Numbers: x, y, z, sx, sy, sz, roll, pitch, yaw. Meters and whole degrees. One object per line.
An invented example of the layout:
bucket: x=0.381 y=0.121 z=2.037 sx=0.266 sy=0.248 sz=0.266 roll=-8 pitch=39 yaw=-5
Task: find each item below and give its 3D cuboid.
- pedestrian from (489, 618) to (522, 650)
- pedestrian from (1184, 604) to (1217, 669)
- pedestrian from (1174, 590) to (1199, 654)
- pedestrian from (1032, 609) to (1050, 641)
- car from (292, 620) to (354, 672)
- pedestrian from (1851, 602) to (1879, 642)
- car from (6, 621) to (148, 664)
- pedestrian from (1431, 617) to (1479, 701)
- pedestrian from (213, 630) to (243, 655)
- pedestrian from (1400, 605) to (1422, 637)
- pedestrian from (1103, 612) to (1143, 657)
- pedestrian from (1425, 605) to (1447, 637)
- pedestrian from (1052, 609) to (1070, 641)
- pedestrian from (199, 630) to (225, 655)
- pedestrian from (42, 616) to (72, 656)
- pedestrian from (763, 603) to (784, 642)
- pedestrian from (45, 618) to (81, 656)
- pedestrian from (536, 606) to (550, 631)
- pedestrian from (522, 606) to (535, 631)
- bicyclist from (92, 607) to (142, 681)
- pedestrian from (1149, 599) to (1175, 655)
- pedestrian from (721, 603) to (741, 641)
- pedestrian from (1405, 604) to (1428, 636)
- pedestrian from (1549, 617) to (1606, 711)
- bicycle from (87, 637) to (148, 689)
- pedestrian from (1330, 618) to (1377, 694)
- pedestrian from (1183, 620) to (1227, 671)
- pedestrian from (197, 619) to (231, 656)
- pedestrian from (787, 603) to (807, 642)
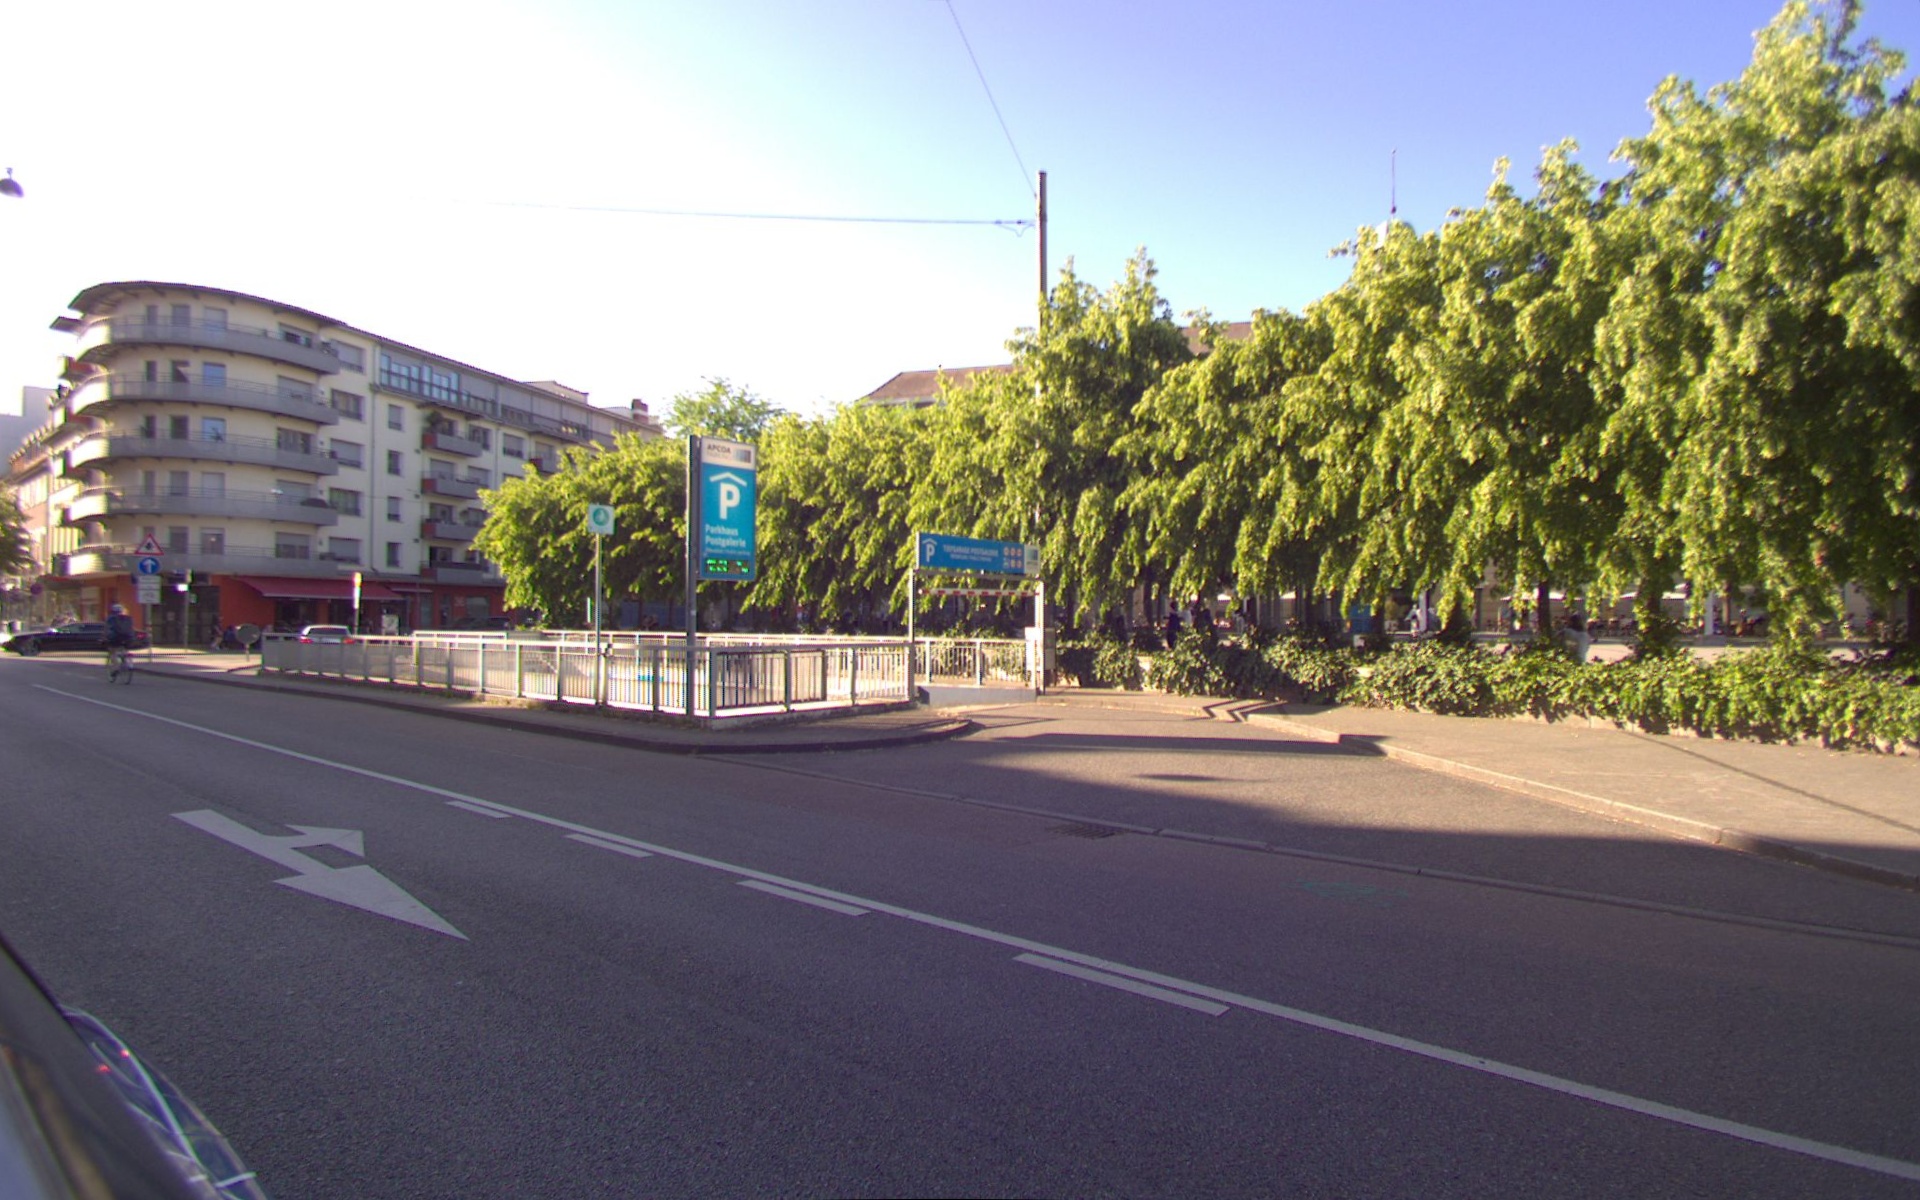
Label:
pedestrian: x=-24.720 y=1.837 z=55.004 sx=1.139 sy=1.678 sz=1.256 roll=-1 pitch=0 yaw=39
pedestrian: x=5.665 y=0.851 z=23.813 sx=0.688 sy=1.511 sz=0.680 roll=-1 pitch=0 yaw=19
pedestrian: x=5.712 y=0.555 z=25.485 sx=0.522 sy=1.594 sz=0.680 roll=-1 pitch=0 yaw=19
pedestrian: x=3.580 y=1.114 z=44.858 sx=0.752 sy=1.385 sz=0.684 roll=-1 pitch=0 yaw=1
car: x=-21.346 y=1.494 z=34.015 sx=1.611 sy=1.542 sz=3.920 roll=-1 pitch=0 yaw=-31
pedestrian: x=35.377 y=0.863 z=39.554 sx=0.683 sy=1.542 sz=0.741 roll=-1 pitch=0 yaw=-43
car: x=-35.874 y=1.689 z=41.269 sx=4.180 sy=1.542 sz=1.681 roll=-1 pitch=0 yaw=-36
pedestrian: x=8.753 y=1.024 z=17.902 sx=0.621 sy=1.447 sz=0.645 roll=-1 pitch=0 yaw=39
pedestrian: x=-36.816 y=2.122 z=50.901 sx=0.827 sy=1.207 sz=0.931 roll=-1 pitch=0 yaw=16
pedestrian: x=21.997 y=1.028 z=49.362 sx=0.673 sy=1.535 sz=0.695 roll=-1 pitch=0 yaw=-7
pedestrian: x=4.045 y=0.842 z=25.109 sx=0.682 sy=1.079 sz=0.686 roll=-1 pitch=0 yaw=-29
pedestrian: x=23.017 y=1.015 z=48.928 sx=0.672 sy=1.542 sz=0.696 roll=-1 pitch=0 yaw=-18
pedestrian: x=4.475 y=1.102 z=44.821 sx=0.684 sy=1.385 sz=0.684 roll=-1 pitch=0 yaw=1
pedestrian: x=-37.637 y=2.133 z=50.945 sx=0.882 sy=1.207 sz=0.772 roll=-1 pitch=0 yaw=30
pedestrian: x=-45.087 y=1.785 z=50.529 sx=0.790 sy=1.934 sz=0.978 roll=-1 pitch=0 yaw=37
pedestrian: x=-9.010 y=1.097 z=48.942 sx=0.681 sy=1.877 sz=0.741 roll=-1 pitch=0 yaw=27
pedestrian: x=-42.251 y=1.744 z=47.694 sx=1.051 sy=1.732 sz=1.084 roll=-1 pitch=0 yaw=-30
pedestrian: x=-31.361 y=1.394 z=76.105 sx=0.684 sy=1.857 sz=0.737 roll=-1 pitch=0 yaw=41
pedestrian: x=-32.784 y=1.412 z=76.880 sx=0.735 sy=1.857 sz=0.686 roll=-1 pitch=0 yaw=-32
bicyclist: x=-20.240 y=1.044 z=24.305 sx=0.808 sy=1.722 sz=0.695 roll=-1 pitch=-2 yaw=35
pedestrian: x=5.128 y=0.671 z=25.672 sx=0.545 sy=1.385 sz=0.680 roll=-1 pitch=0 yaw=19
pedestrian: x=-11.347 y=1.091 z=50.200 sx=0.679 sy=1.857 sz=0.743 roll=-1 pitch=0 yaw=19
pedestrian: x=21.760 y=0.941 z=48.262 sx=0.672 sy=1.536 sz=0.696 roll=-1 pitch=0 yaw=-19
pedestrian: x=9.809 y=1.010 z=16.094 sx=0.611 sy=1.447 sz=0.588 roll=-1 pitch=0 yaw=14
bicycle: x=-20.233 y=1.492 z=24.284 sx=1.953 sy=1.171 sz=0.611 roll=0 pitch=-3 yaw=35
pedestrian: x=7.526 y=1.059 z=19.349 sx=0.622 sy=1.409 sz=0.644 roll=-1 pitch=0 yaw=44
pedestrian: x=5.435 y=0.993 z=22.465 sx=0.682 sy=1.079 sz=0.686 roll=-1 pitch=0 yaw=-13
pedestrian: x=-36.622 y=1.811 z=49.681 sx=0.947 sy=1.762 sz=1.063 roll=-1 pitch=0 yaw=-6
pedestrian: x=-7.988 y=1.093 z=49.656 sx=0.681 sy=1.857 sz=0.741 roll=-1 pitch=0 yaw=27
